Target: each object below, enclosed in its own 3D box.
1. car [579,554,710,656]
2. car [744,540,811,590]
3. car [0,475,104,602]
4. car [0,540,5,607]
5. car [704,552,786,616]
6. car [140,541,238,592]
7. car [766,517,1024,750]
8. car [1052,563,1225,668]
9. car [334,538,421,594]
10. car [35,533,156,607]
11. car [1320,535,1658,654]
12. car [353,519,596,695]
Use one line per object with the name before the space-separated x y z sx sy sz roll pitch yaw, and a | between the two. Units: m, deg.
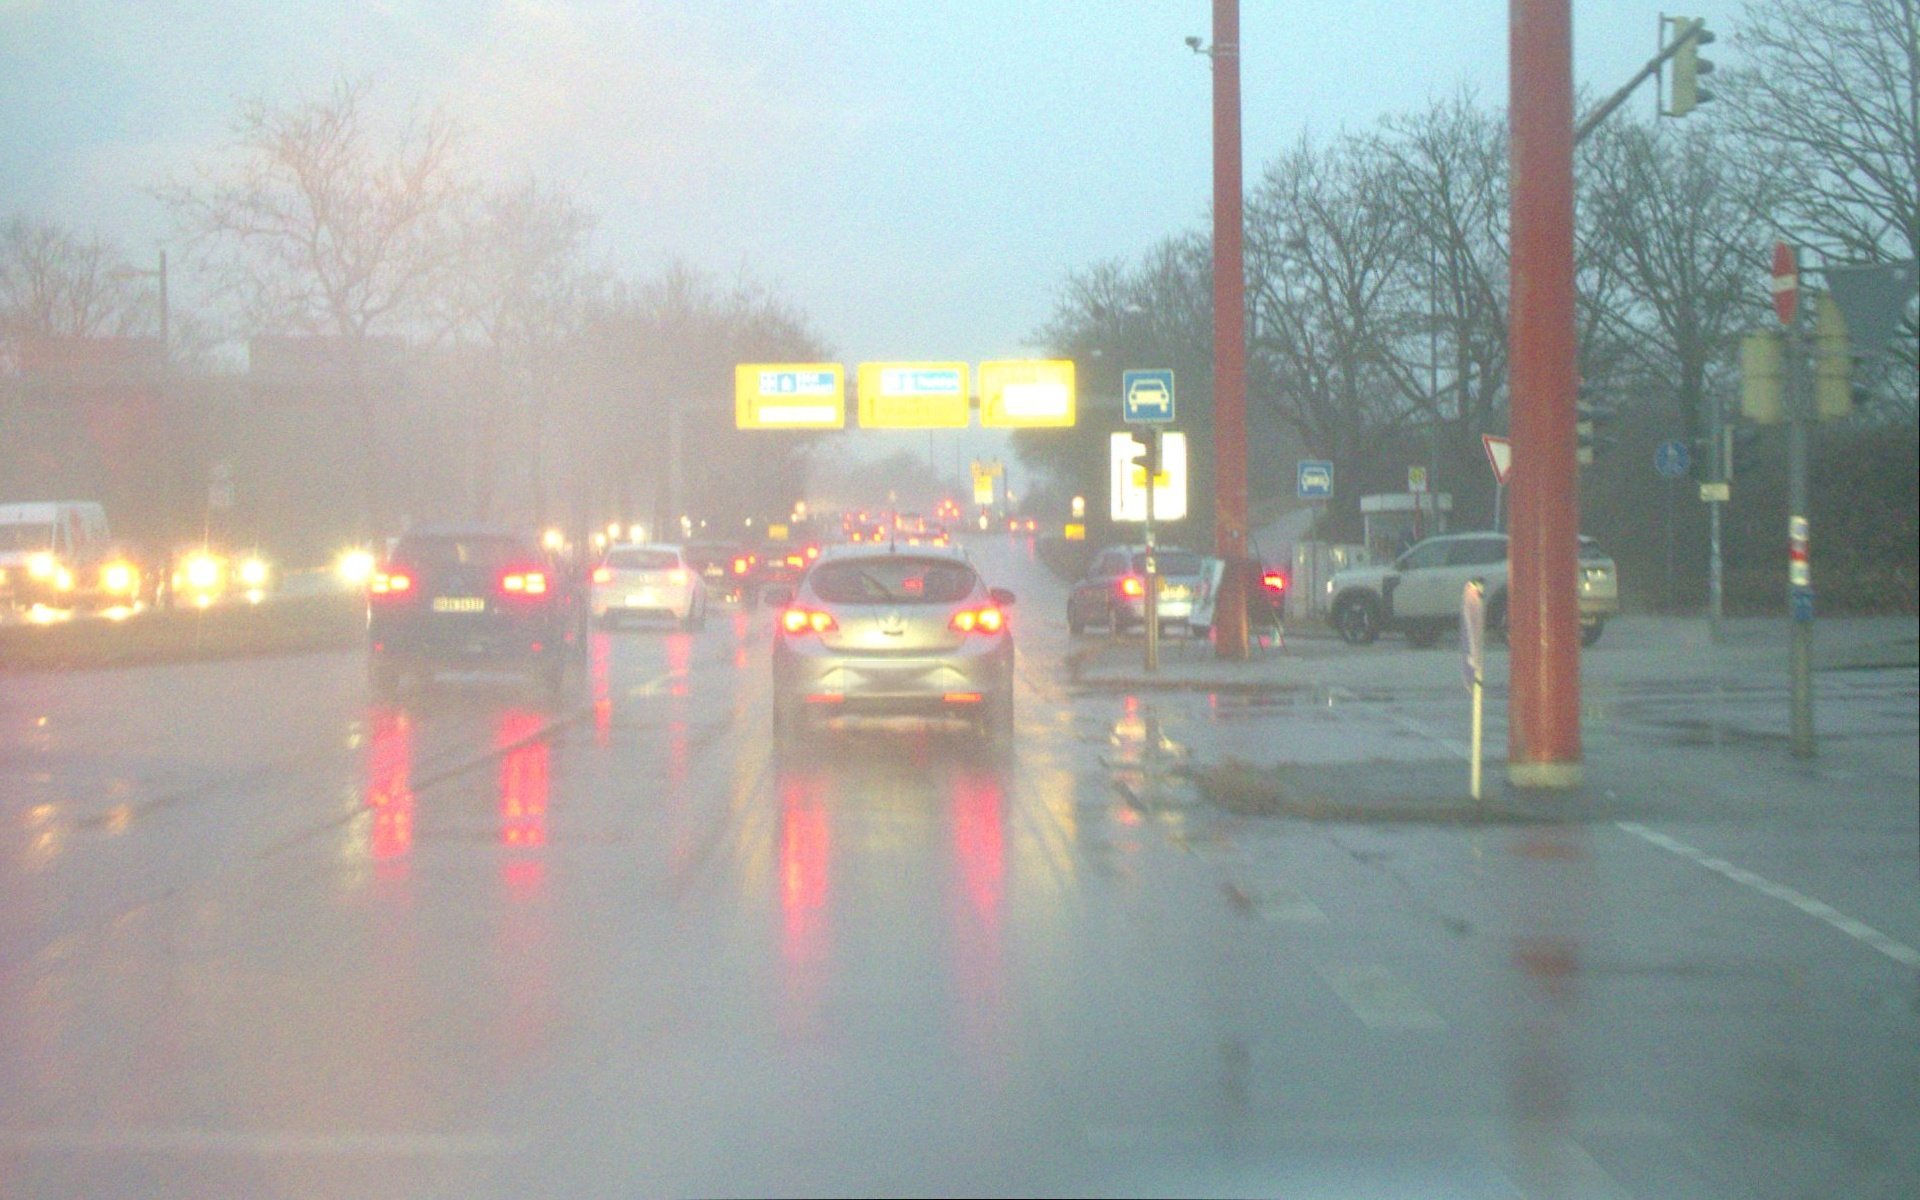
car | -5.313 0.050 58.328 1.822 1.642 4.000 0 1 0
car | -5.616 -1.100 106.117 1.822 1.499 4.000 0 1 0
car | -23.328 -1.492 85.047 2.292 2.994 7.346 1 0 1
car | -22.706 -0.545 76.178 1.770 1.531 4.446 0 1 1
car | -4.629 -0.372 74.440 1.505 1.334 4.000 0 1 0
car | -22.671 -1.007 101.197 1.904 1.441 4.443 0 1 0
car | -0.451 0.194 26.713 1.822 1.642 4.467 0 1 0
car | 2.915 0.228 57.136 1.933 1.642 4.468 1 1 -9
car | -16.953 -1.013 100.253 1.770 1.531 4.841 0 1 -1
car | -19.461 -0.702 77.543 1.770 1.581 4.034 0 1 -1
car | 7.457 -0.103 48.666 4.406 1.612 1.817 1 1 39
car | -4.765 0.027 34.251 1.822 1.642 4.000 0 1 0
